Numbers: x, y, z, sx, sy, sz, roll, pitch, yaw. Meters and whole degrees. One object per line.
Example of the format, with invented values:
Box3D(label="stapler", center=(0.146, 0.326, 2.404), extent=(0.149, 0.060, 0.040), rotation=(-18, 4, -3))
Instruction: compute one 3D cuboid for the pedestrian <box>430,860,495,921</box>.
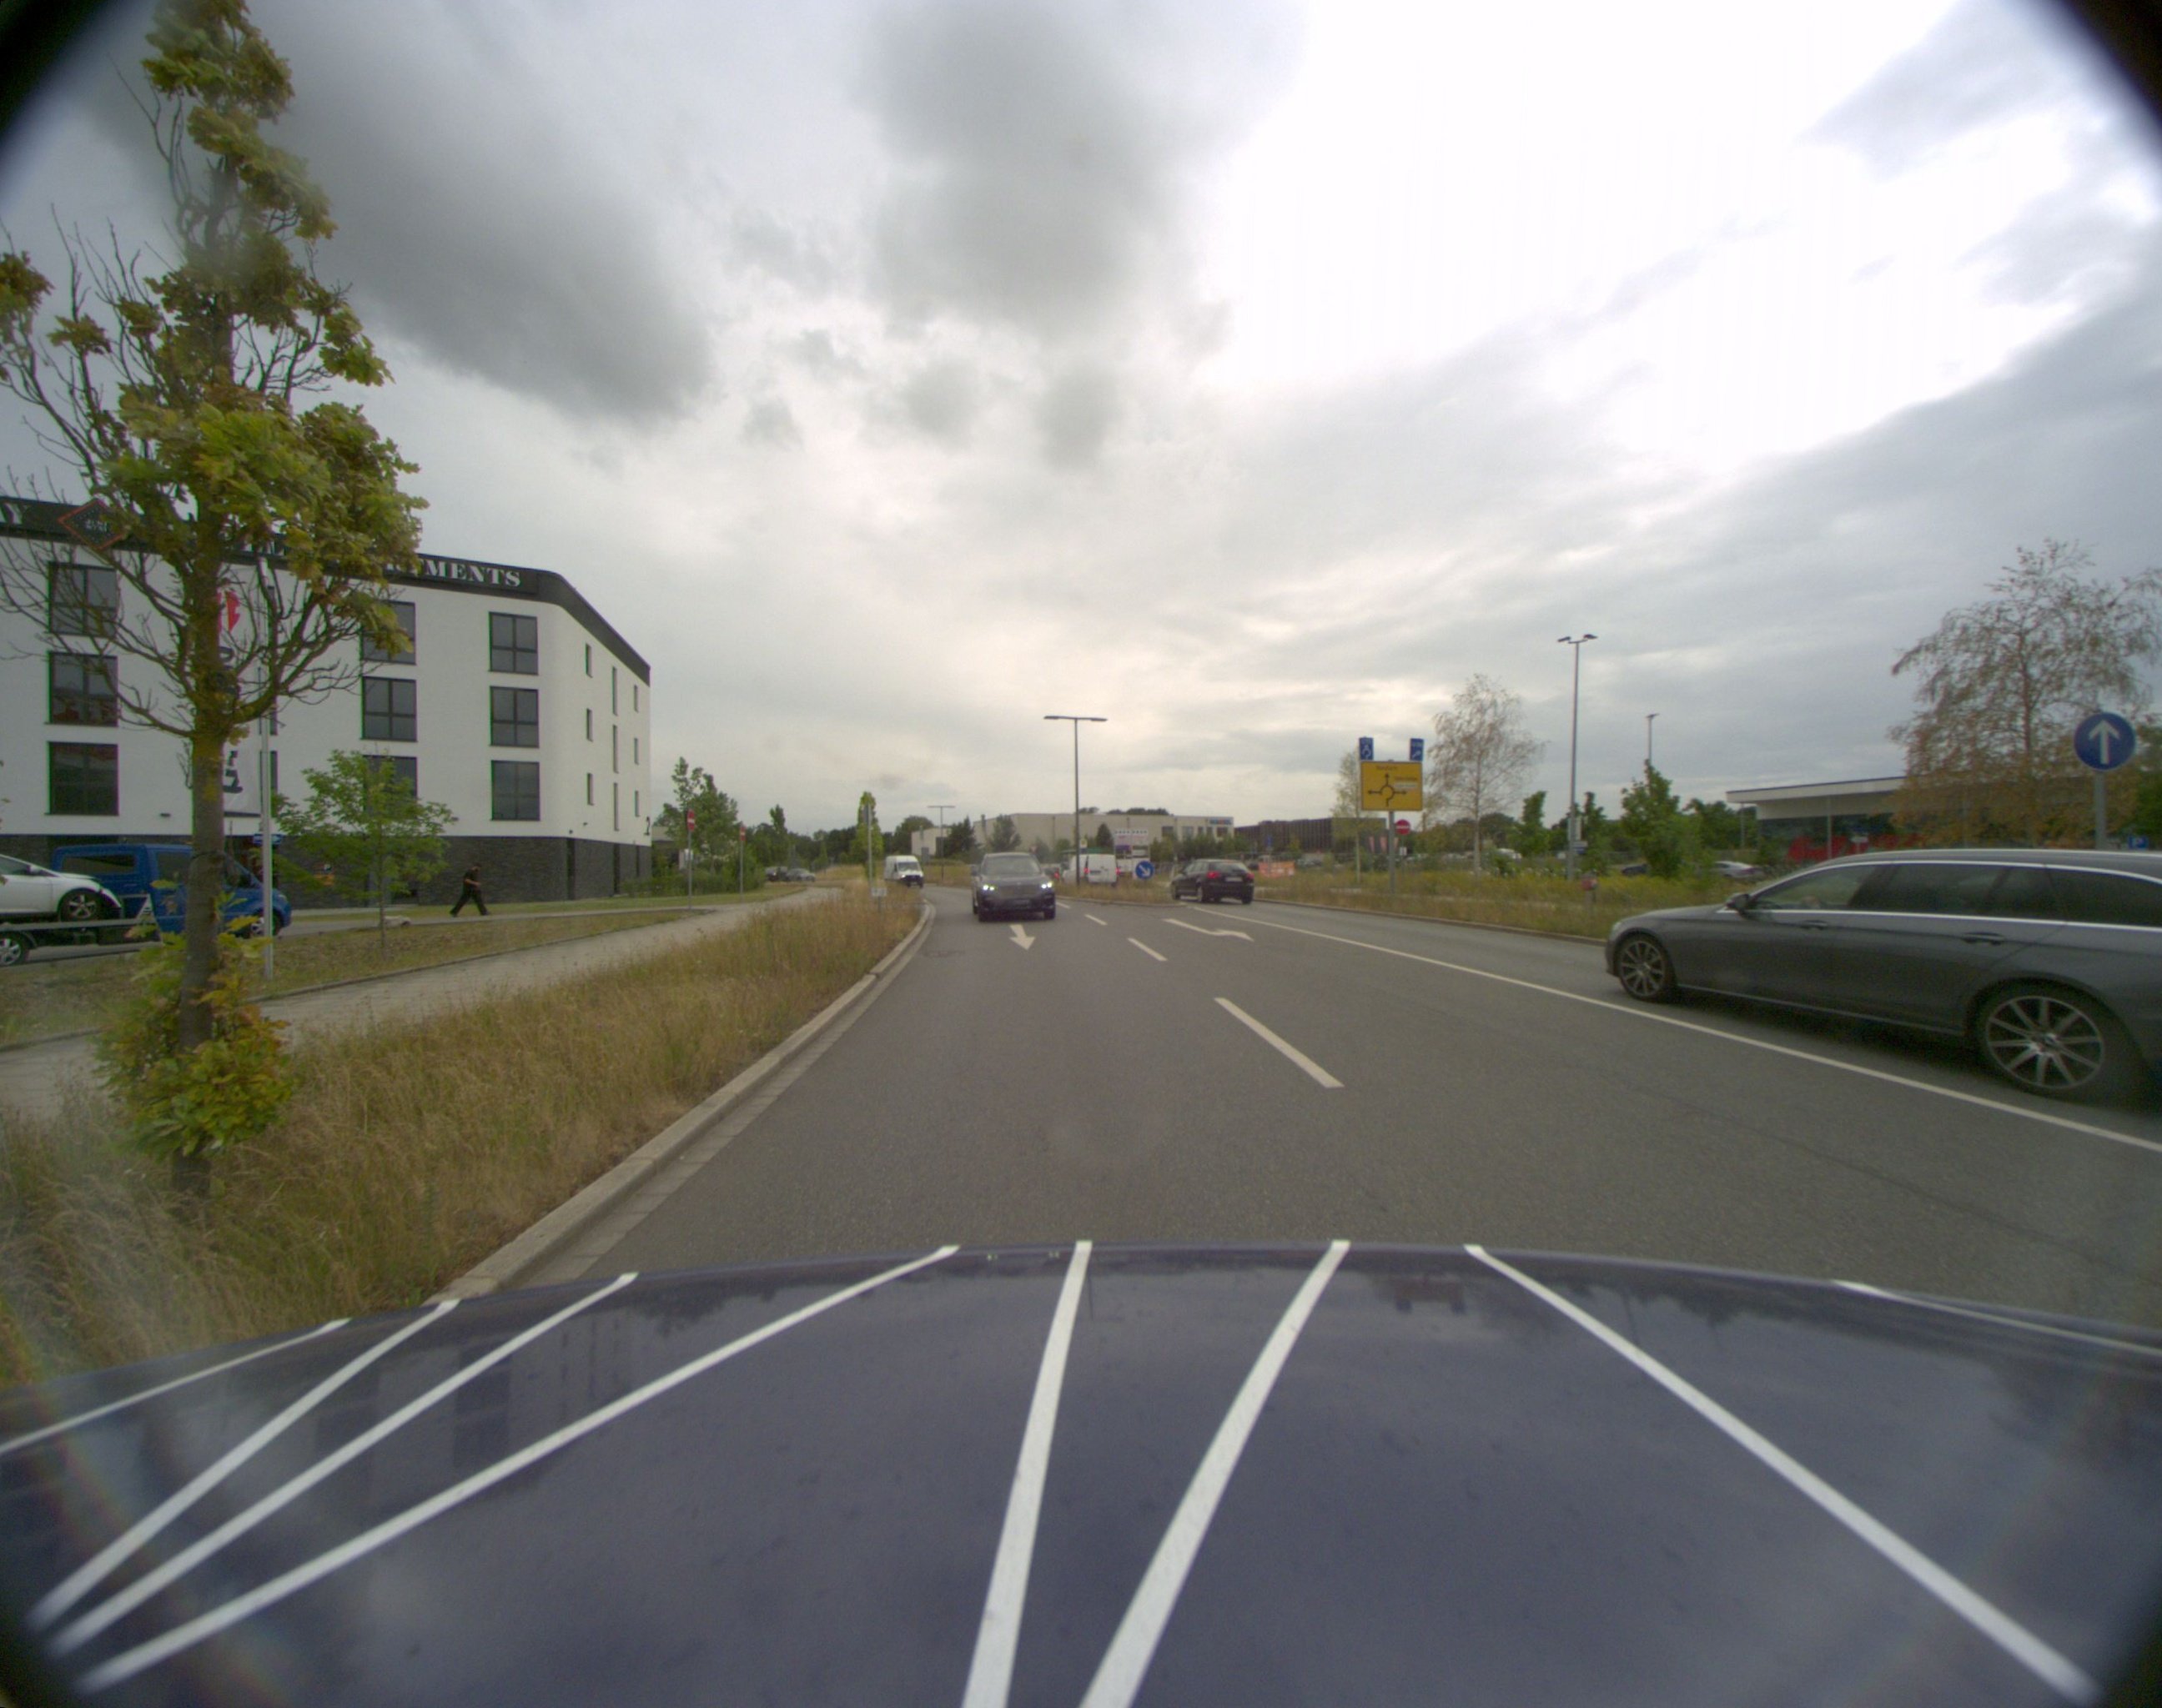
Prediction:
Box3D(label="pedestrian", center=(-19.682, 1.131, 24.212), extent=(1.195, 1.847, 1.073), rotation=(-1, 2, -13))

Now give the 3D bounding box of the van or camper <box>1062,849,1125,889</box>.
Box3D(label="van or camper", center=(0.566, 0.767, 40.164), extent=(1.954, 1.996, 5.121), rotation=(0, 0, -16))

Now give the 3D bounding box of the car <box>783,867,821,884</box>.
Box3D(label="car", center=(-28.733, 2.189, 78.236), extent=(3.989, 1.576, 2.004), rotation=(-1, 0, 42))

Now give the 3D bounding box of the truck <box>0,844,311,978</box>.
Box3D(label="truck", center=(-19.919, 1.004, 14.629), extent=(2.233, 2.312, 8.211), rotation=(-1, 0, -4))

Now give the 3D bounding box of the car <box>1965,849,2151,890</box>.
Box3D(label="car", center=(37.458, 0.566, 29.280), extent=(1.851, 1.433, 4.058), rotation=(-1, 0, -21))

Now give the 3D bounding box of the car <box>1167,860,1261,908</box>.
Box3D(label="car", center=(4.339, 0.931, 25.516), extent=(1.724, 1.437, 4.231), rotation=(0, 0, -11))

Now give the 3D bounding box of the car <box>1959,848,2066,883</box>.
Box3D(label="car", center=(48.096, 0.566, 39.254), extent=(4.001, 1.718, 1.951), rotation=(-1, 0, -13))

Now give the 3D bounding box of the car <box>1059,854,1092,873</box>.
Box3D(label="car", center=(-0.635, 1.207, 94.979), extent=(1.995, 2.231, 4.598), rotation=(-1, 0, 31))

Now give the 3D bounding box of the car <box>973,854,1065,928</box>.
Box3D(label="car", center=(-1.716, 0.868, 19.676), extent=(2.000, 1.654, 3.997), rotation=(-2, 0, -9))

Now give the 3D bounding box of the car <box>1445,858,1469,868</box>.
Box3D(label="car", center=(66.287, 1.551, 133.824), extent=(4.006, 1.707, 1.995), rotation=(-2, 0, -32))

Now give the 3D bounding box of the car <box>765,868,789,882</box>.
Box3D(label="car", center=(-35.921, 2.478, 89.784), extent=(1.974, 1.576, 3.995), rotation=(-2, 0, -13))

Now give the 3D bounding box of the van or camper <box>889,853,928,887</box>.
Box3D(label="van or camper", center=(-13.957, 1.280, 61.337), extent=(2.268, 2.601, 5.687), rotation=(-1, 0, -21))

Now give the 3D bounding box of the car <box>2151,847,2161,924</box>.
Box3D(label="car", center=(24.785, 0.623, 15.234), extent=(3.954, 1.624, 2.084), rotation=(-1, 0, -3))

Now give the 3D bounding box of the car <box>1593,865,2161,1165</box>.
Box3D(label="car", center=(6.338, 0.854, 5.575), extent=(1.790, 1.481, 4.766), rotation=(0, 0, -3))

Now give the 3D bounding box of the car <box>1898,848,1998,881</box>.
Box3D(label="car", center=(47.652, 0.573, 41.800), extent=(4.001, 1.718, 1.998), rotation=(-1, 0, -13))

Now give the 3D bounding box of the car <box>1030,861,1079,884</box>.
Box3D(label="car", center=(-1.830, 1.200, 50.856), extent=(2.173, 1.474, 4.897), rotation=(-1, 0, -16))

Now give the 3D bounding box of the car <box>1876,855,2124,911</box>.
Box3D(label="car", center=(24.891, 0.755, 20.690), extent=(4.580, 1.358, 2.141), rotation=(-1, 0, -6))

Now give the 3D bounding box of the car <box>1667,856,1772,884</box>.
Box3D(label="car", center=(35.865, 0.884, 42.802), extent=(1.833, 1.443, 4.189), rotation=(-1, 0, -17))
